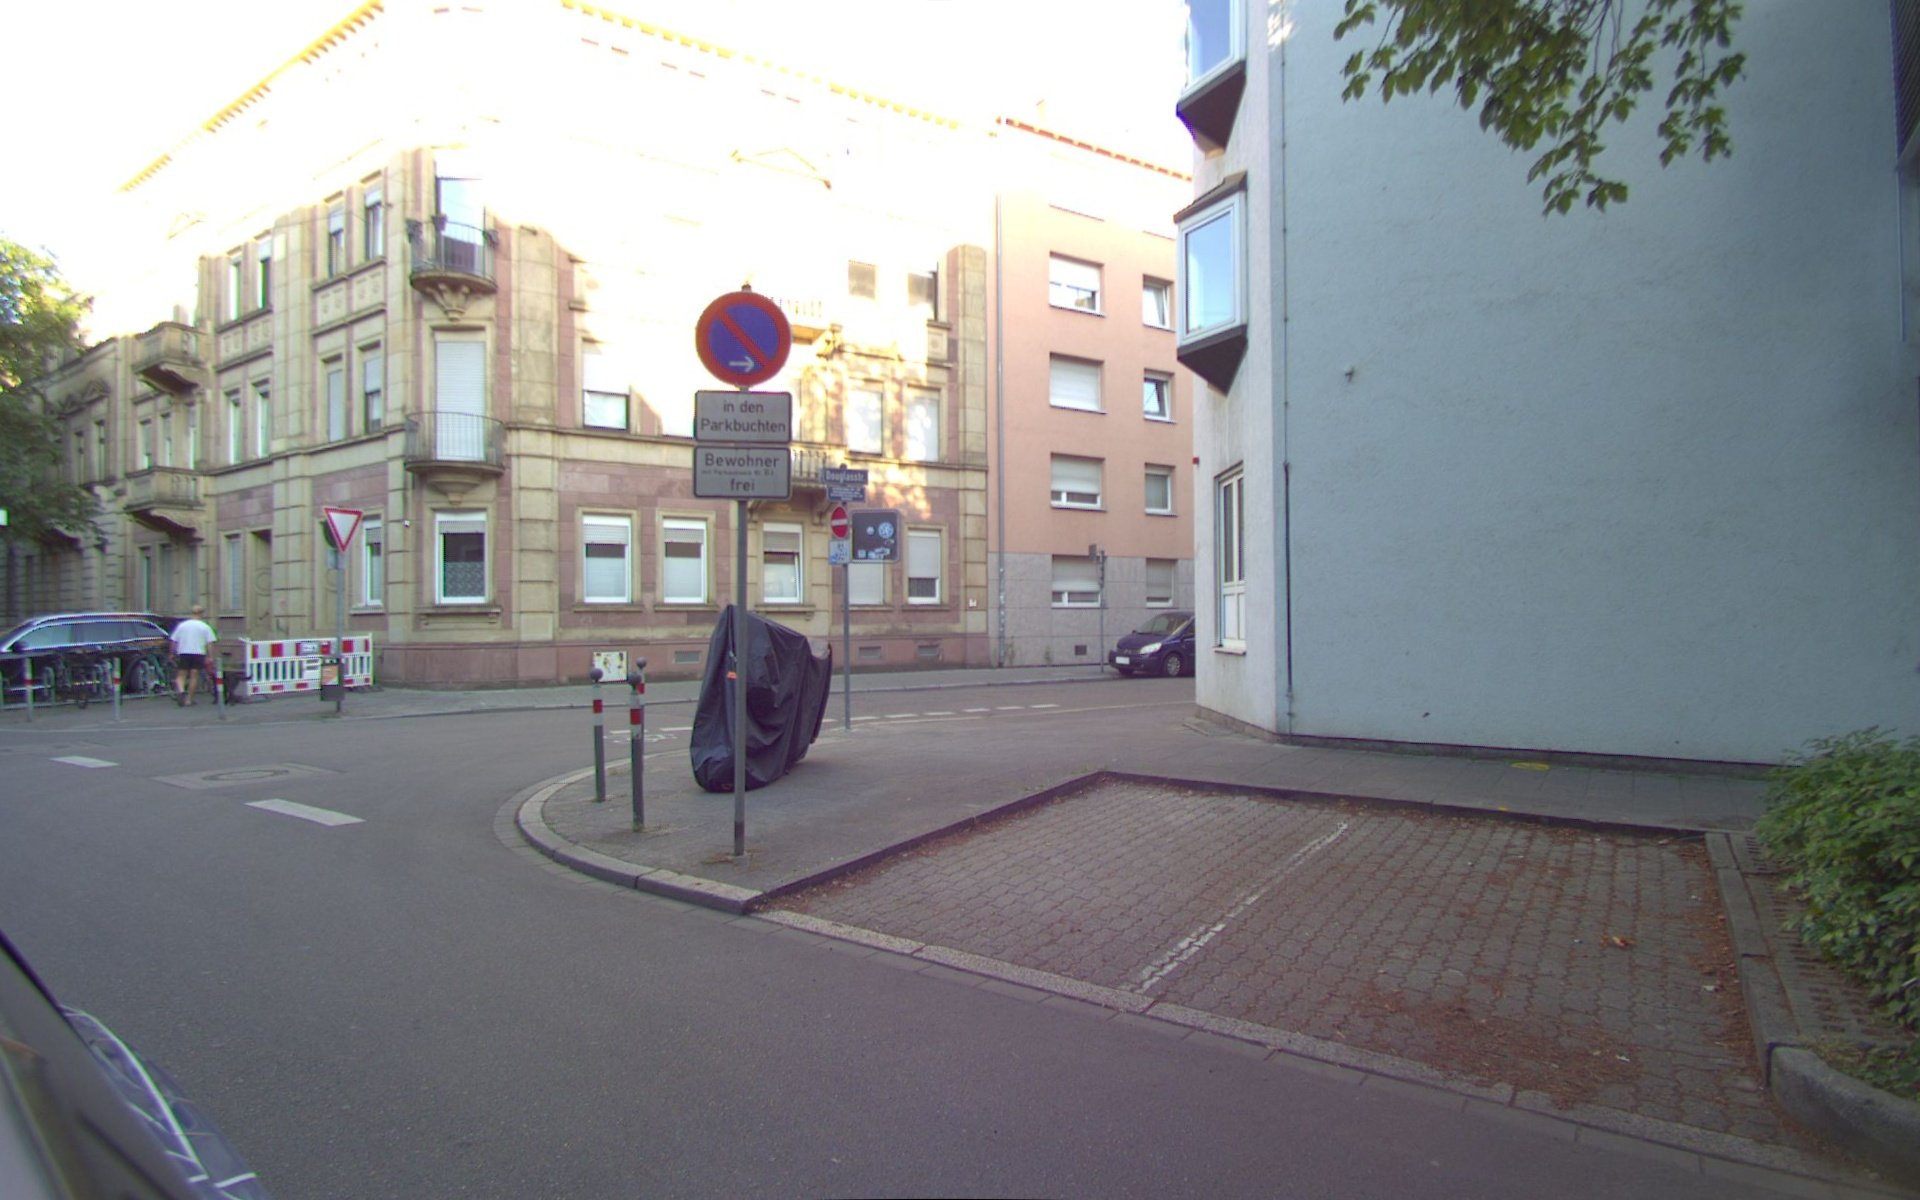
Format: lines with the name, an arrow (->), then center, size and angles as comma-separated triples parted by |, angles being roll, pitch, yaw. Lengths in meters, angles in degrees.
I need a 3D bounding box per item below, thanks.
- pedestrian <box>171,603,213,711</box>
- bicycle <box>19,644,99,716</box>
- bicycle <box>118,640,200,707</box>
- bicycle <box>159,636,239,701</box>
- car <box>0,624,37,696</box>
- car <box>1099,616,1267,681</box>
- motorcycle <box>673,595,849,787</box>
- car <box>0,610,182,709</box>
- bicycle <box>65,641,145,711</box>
pedestrian -> -13.264, 0.967, 17.472 | 0.564, 1.821, 0.652 | 0, -1, -38
bicycle -> -15.620, 1.353, 17.522 | 2.034, 1.159, 0.555 | -1, -1, 34
bicycle -> -14.796, 1.332, 18.679 | 2.033, 1.159, 0.556 | -1, -1, 33
bicycle -> -14.442, 1.272, 19.183 | 2.033, 1.159, 0.556 | -1, -1, 33
car -> -24.301, 1.414, 23.389 | 1.740, 1.690, 4.190 | -1, -2, 39
car -> 5.741, 1.175, 25.852 | 4.297, 1.529, 1.789 | 1, -2, -36
motorcycle -> -1.721, 0.745, 9.202 | 0.809, 1.516, 2.276 | -1, -1, 10
car -> -17.906, 1.110, 19.469 | 1.740, 1.795, 4.368 | -1, -2, 38
bicycle -> -15.267, 1.330, 18.051 | 2.034, 1.159, 0.555 | -1, -1, 34
